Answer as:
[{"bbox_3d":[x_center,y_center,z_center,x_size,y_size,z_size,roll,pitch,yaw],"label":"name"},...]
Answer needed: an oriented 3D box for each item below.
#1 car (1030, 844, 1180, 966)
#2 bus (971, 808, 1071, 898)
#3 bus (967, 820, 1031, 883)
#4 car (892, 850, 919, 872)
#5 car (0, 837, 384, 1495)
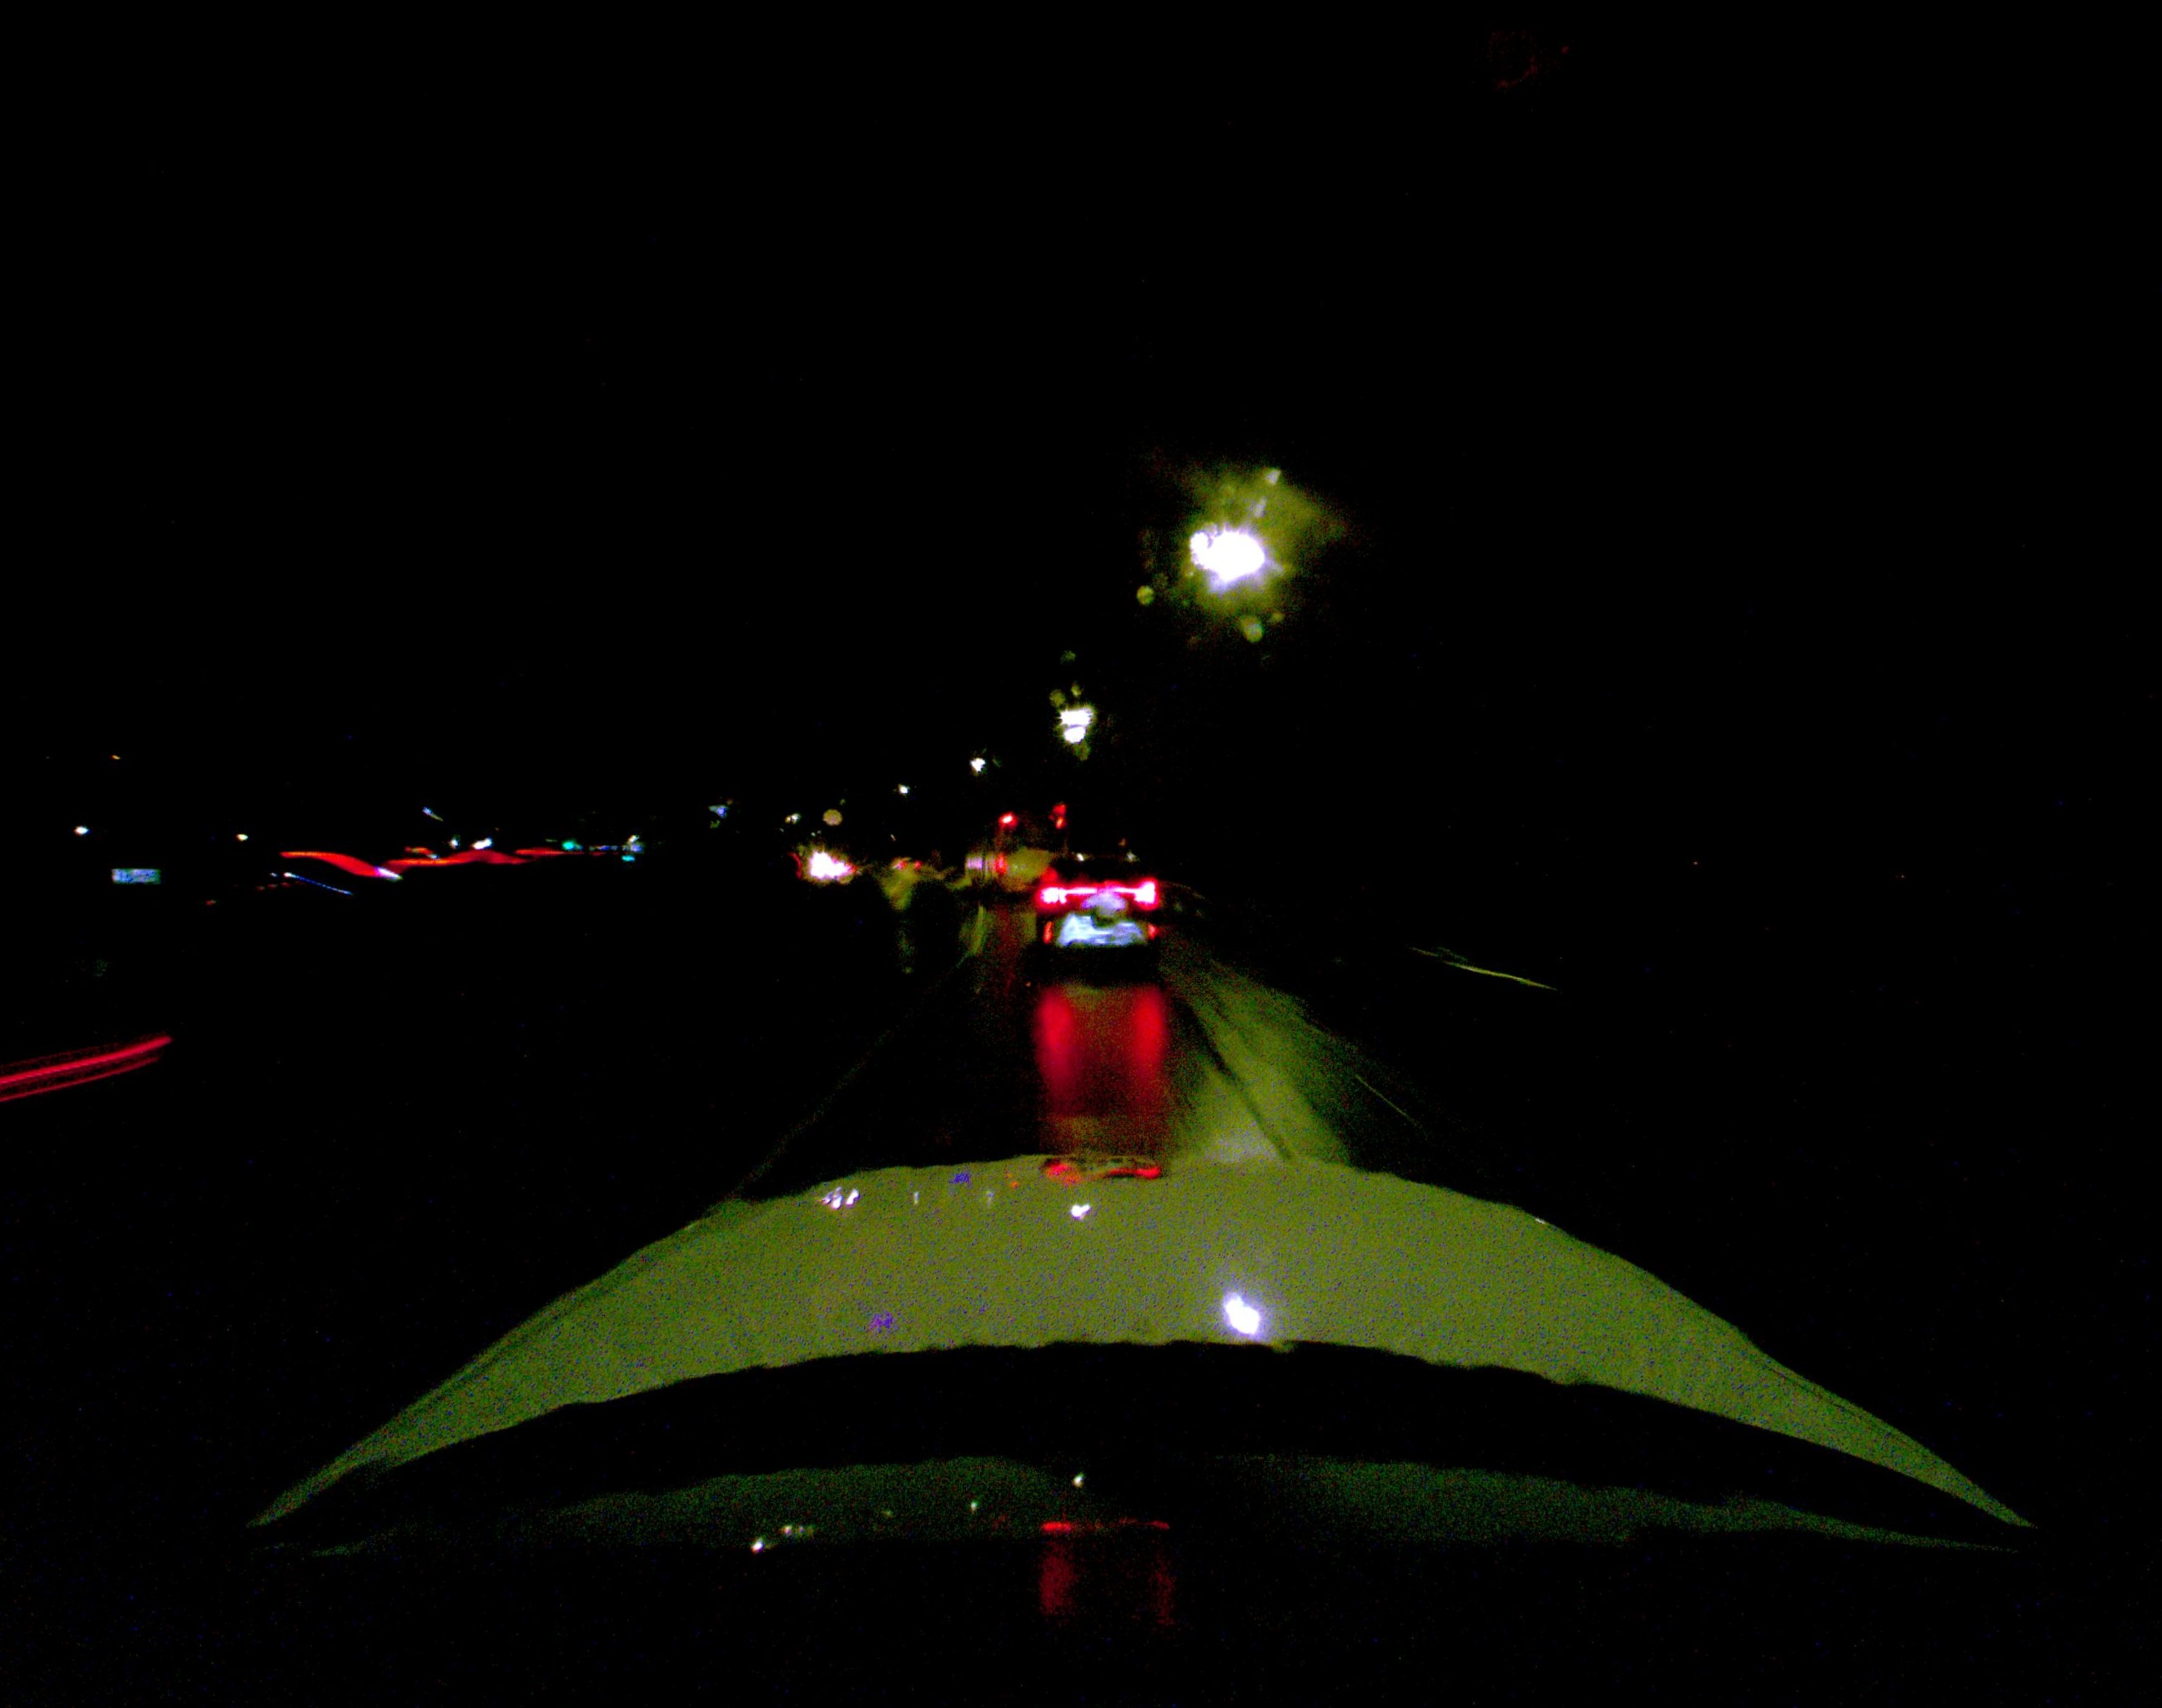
[{"bbox_3d":[0.207,0.661,12.678,1.853,1.586,3.992,0,0,-6],"label":"car"},{"bbox_3d":[-2.937,-0.060,35.020,3.083,3.132,12.654,-1,0,-10],"label":"bus"},{"bbox_3d":[-4.681,-0.229,45.189,3.048,3.131,8.055,-1,2,-9],"label":"bus"},{"bbox_3d":[-15.499,0.625,71.736,1.643,1.655,3.682,-3,4,-23],"label":"car"},{"bbox_3d":[-3.514,0.761,0.617,1.892,1.567,4.734,0,1,0],"label":"car"}]
